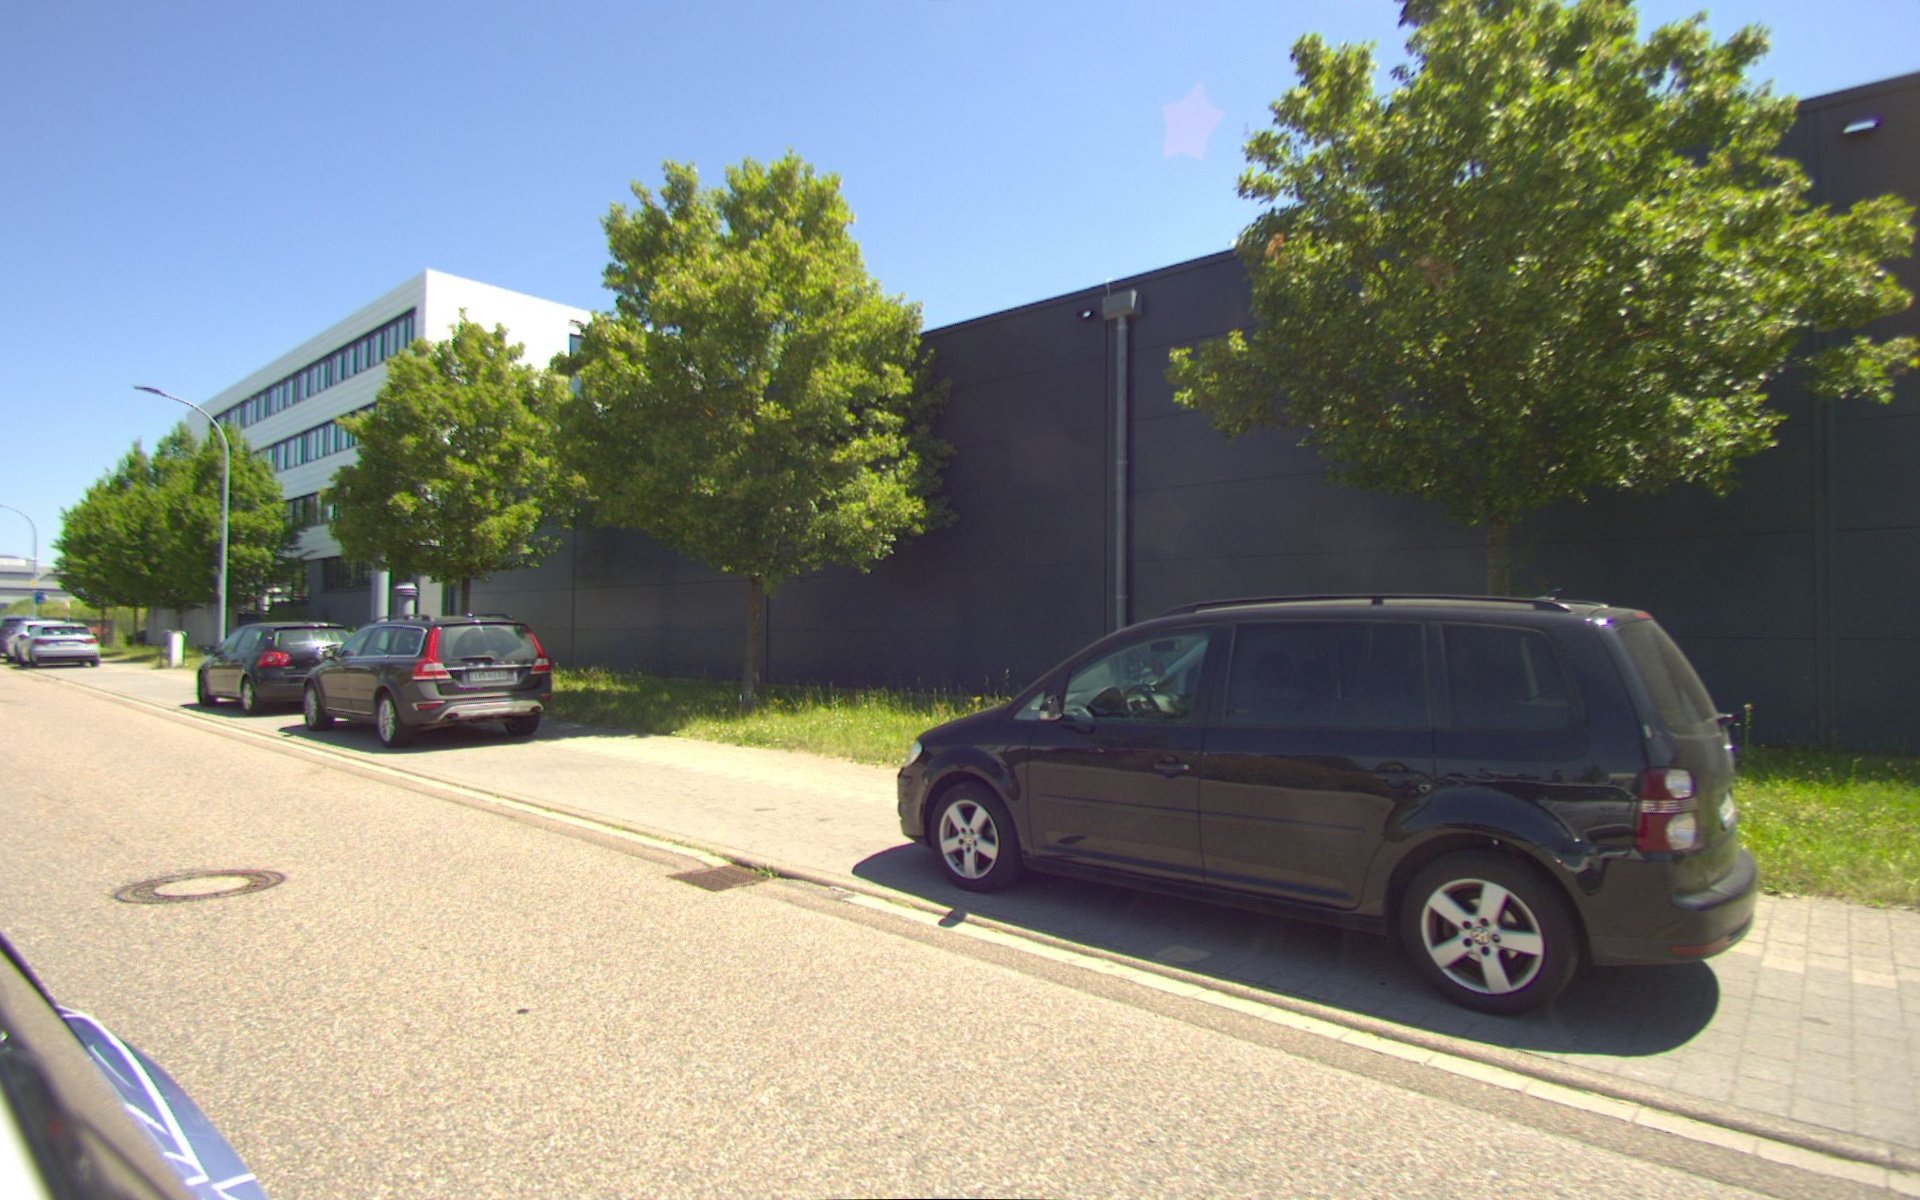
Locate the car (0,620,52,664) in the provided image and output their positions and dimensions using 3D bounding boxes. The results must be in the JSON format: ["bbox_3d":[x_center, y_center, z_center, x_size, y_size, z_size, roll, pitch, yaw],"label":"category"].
[{"bbox_3d":[-37.777,1.634,40.411,4.580,1.636,1.752,-1,0,42],"label":"car"}]

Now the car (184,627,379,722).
[{"bbox_3d":[-11.886,1.198,17.639,4.198,1.442,1.752,-1,-2,41],"label":"car"}]

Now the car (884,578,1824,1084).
[{"bbox_3d":[1.719,0.786,5.320,4.244,1.624,1.752,-1,-2,41],"label":"car"}]

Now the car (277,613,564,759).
[{"bbox_3d":[-7.360,1.011,13.571,4.849,1.624,1.752,-1,-2,41],"label":"car"}]

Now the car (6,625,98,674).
[{"bbox_3d":[-29.195,1.549,32.515,3.938,1.442,1.752,-1,-1,42],"label":"car"}]

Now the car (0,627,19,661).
[{"bbox_3d":[-47.332,2.156,49.212,4.477,1.600,1.753,-2,-2,40],"label":"car"}]

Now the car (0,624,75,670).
[{"bbox_3d":[-33.044,1.628,36.022,4.199,1.441,1.752,-1,1,42],"label":"car"}]
